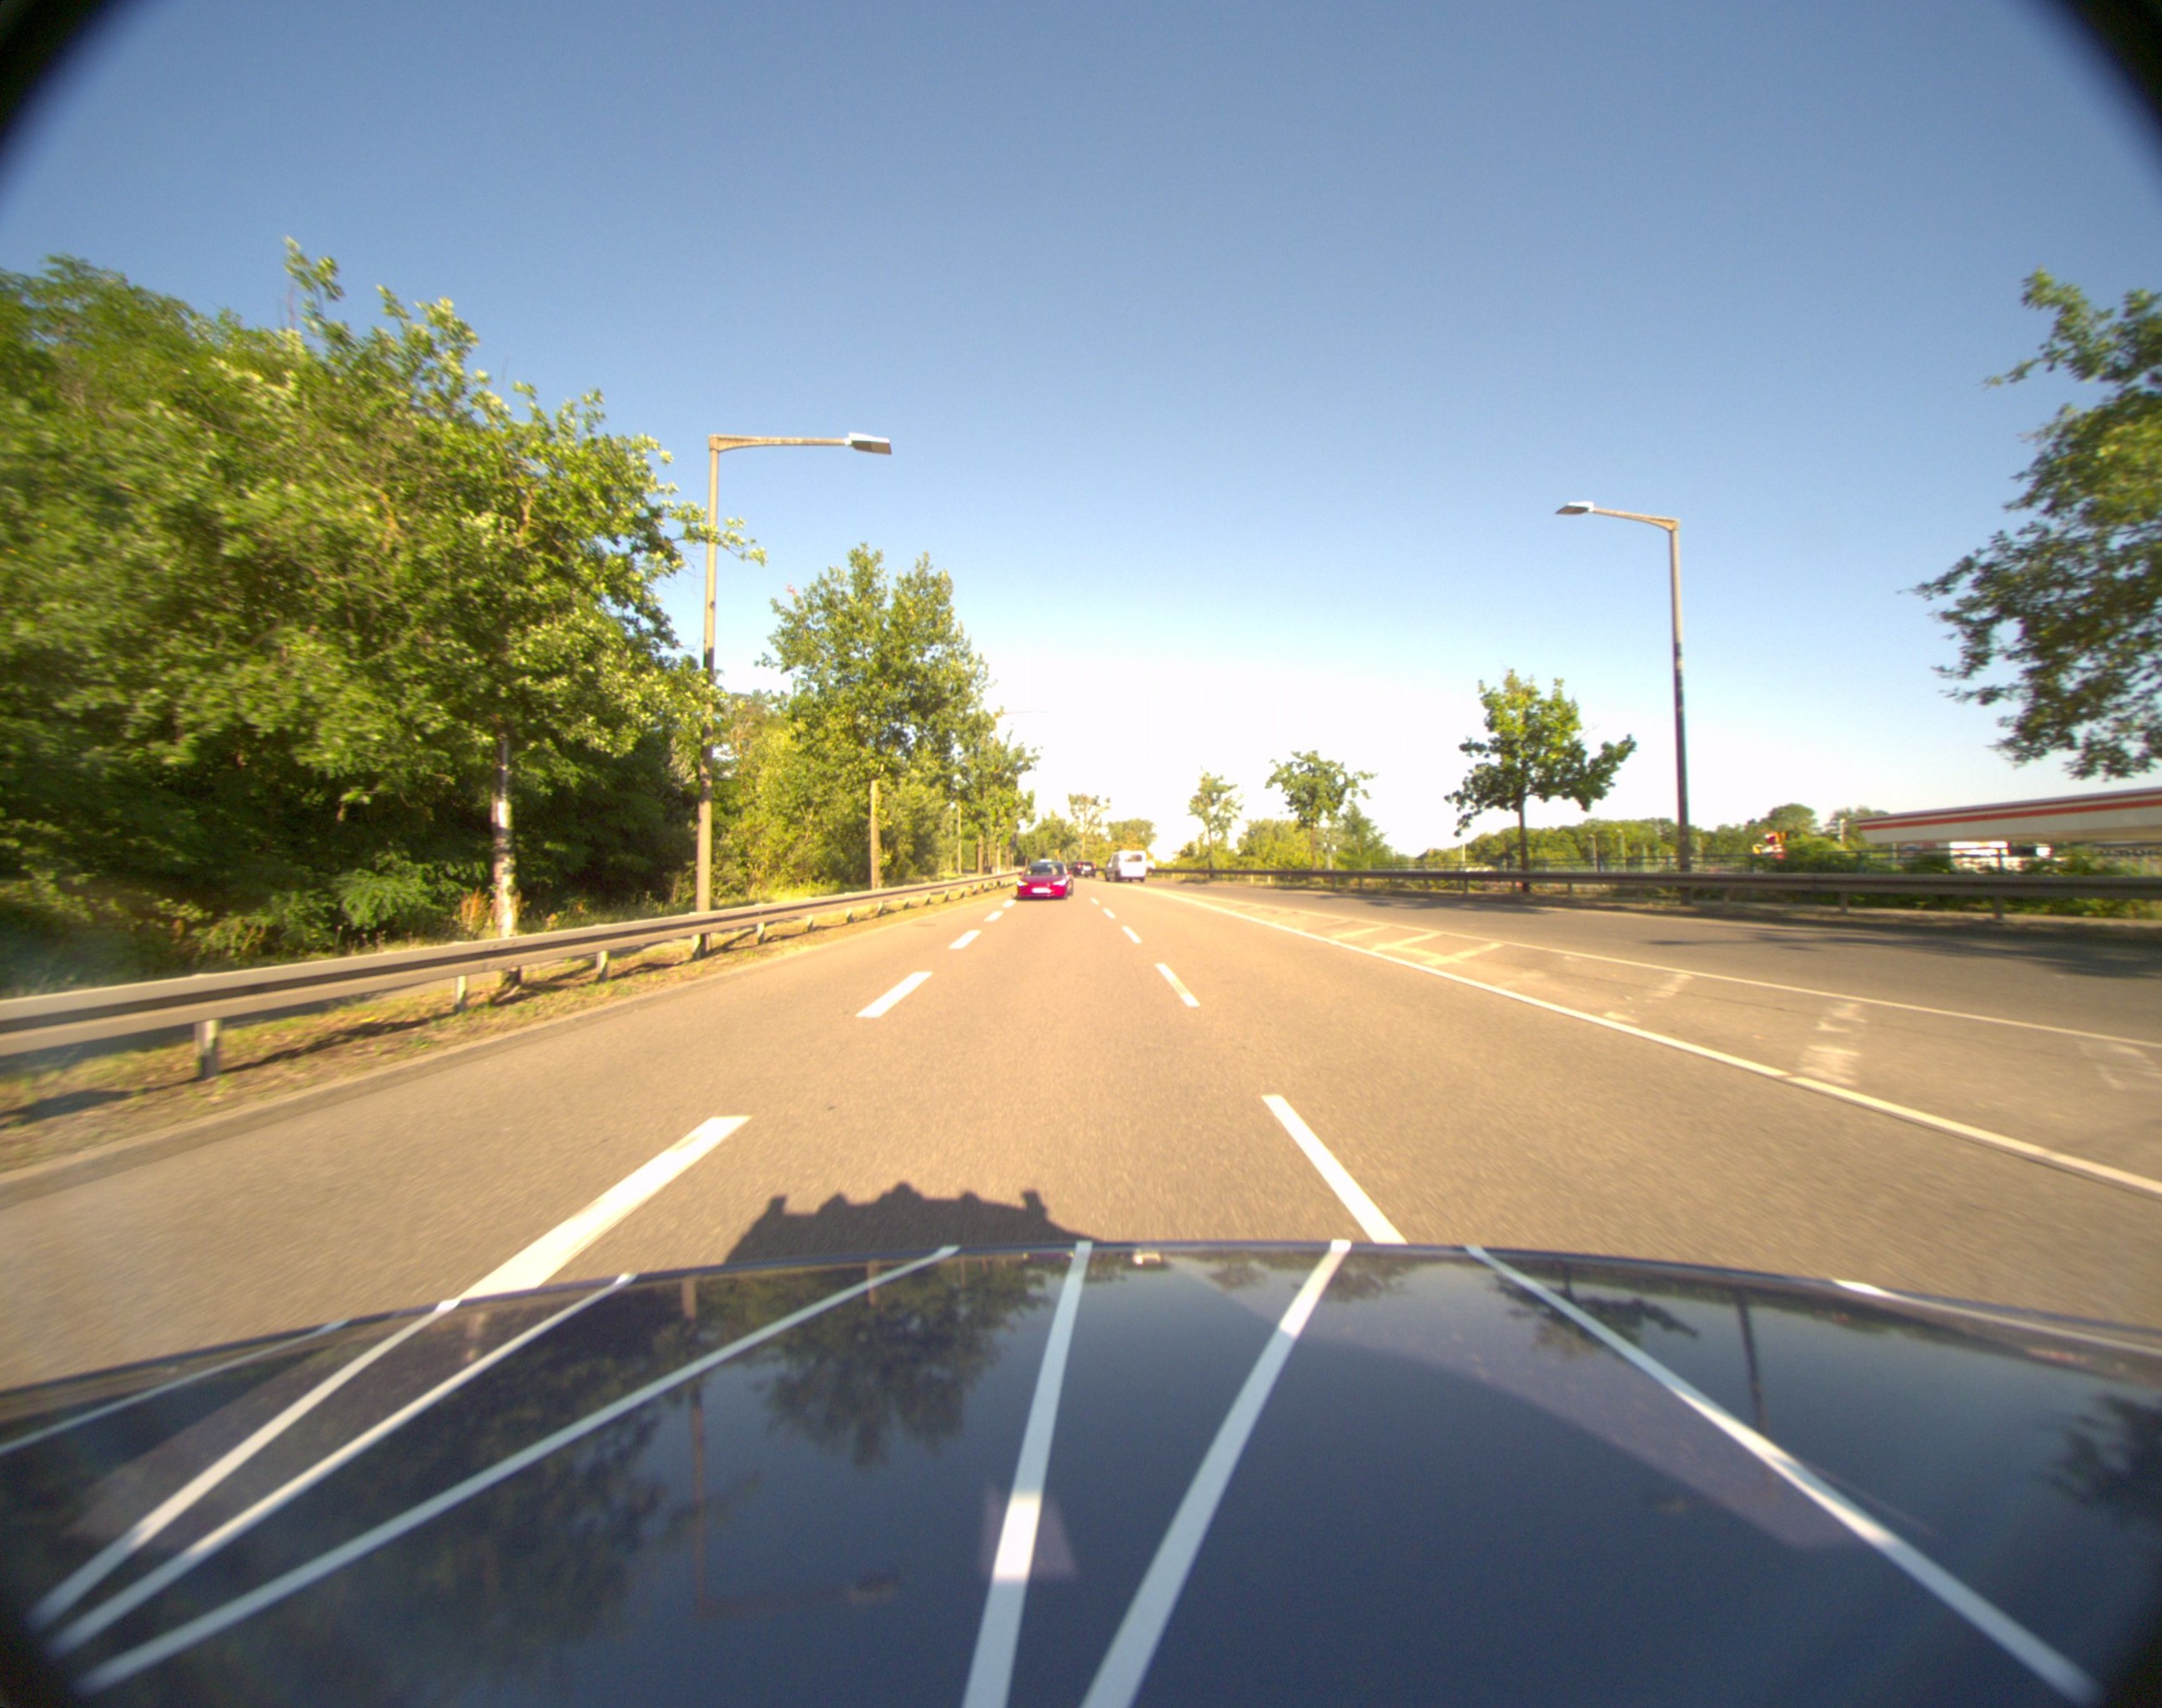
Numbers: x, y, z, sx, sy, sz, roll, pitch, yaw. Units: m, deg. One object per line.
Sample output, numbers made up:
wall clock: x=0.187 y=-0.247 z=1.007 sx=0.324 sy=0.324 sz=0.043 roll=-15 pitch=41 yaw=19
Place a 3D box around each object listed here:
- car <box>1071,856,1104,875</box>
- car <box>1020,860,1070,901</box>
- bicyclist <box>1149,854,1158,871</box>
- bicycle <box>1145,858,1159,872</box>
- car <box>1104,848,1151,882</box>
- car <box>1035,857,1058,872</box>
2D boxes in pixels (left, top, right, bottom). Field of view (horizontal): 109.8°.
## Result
car: x=0.509 y=0.902 z=62.524 sx=1.778 sy=1.457 sz=4.379 roll=-1 pitch=0 yaw=-12
car: x=-1.441 y=0.962 z=29.352 sx=1.782 sy=1.433 sz=4.358 roll=0 pitch=0 yaw=-4
bicyclist: x=6.112 y=0.726 z=64.063 sx=0.601 sy=1.450 sz=0.827 roll=1 pitch=0 yaw=-10
bicycle: x=6.029 y=0.912 z=64.359 sx=0.584 sy=1.070 sz=2.311 roll=1 pitch=0 yaw=-10
car: x=2.922 y=0.673 z=49.255 sx=1.884 sy=2.002 sz=5.255 roll=-2 pitch=1 yaw=-9
car: x=-3.862 y=1.085 z=84.071 sx=1.834 sy=1.580 sz=4.643 roll=-1 pitch=0 yaw=-11
